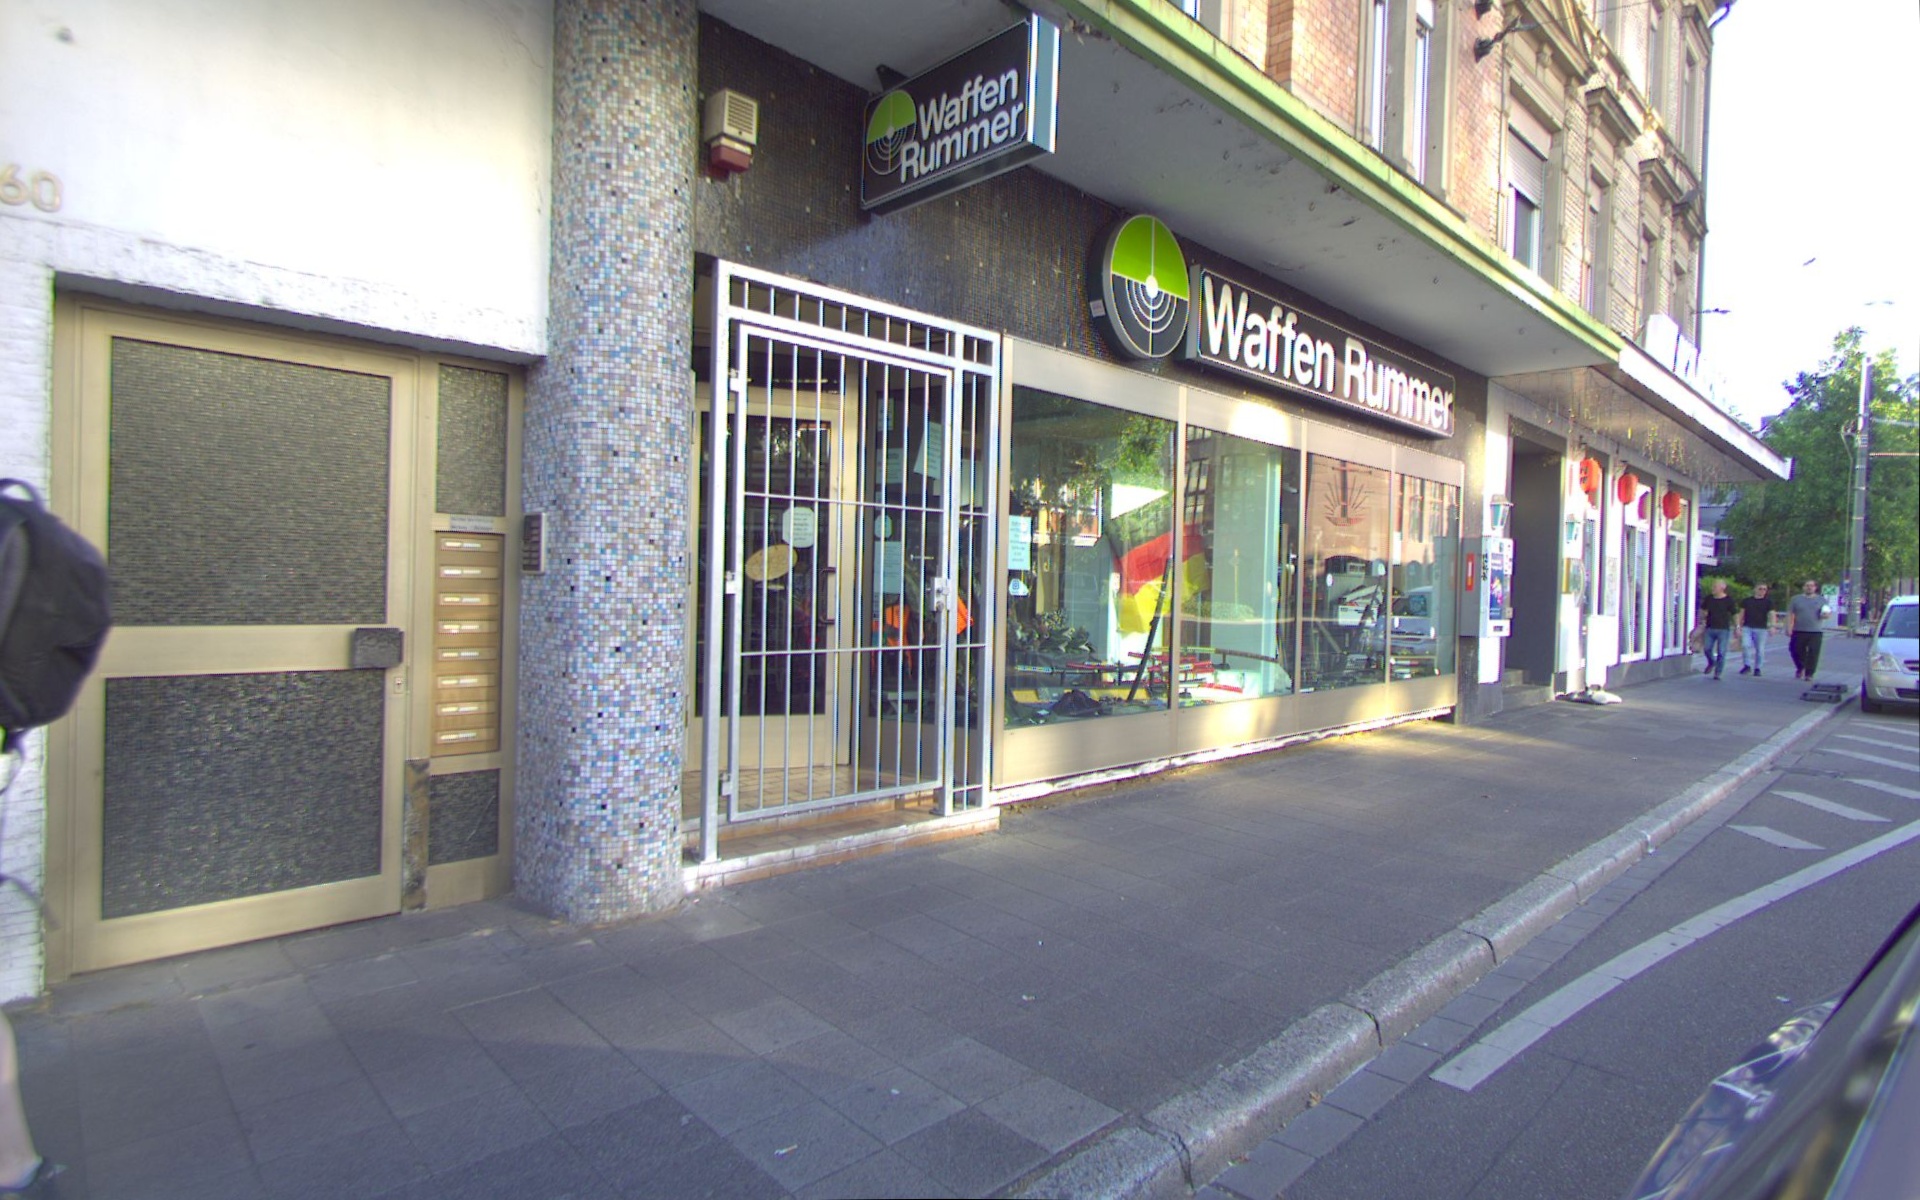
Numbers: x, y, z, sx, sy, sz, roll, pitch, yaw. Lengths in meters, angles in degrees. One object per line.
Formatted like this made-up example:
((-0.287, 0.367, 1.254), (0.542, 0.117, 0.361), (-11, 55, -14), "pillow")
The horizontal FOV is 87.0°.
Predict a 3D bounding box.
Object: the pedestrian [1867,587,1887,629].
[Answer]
((37.911, 0.326, 41.837), (0.430, 1.734, 0.493), (0, 3, -44), "pedestrian")

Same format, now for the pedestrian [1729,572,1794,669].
((15.365, 0.374, 19.401), (1.016, 1.778, 0.811), (0, 2, -44), "pedestrian")

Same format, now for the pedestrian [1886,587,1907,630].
((38.038, 0.336, 41.111), (0.430, 1.734, 0.493), (0, 3, -44), "pedestrian")

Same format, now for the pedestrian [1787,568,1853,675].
((16.125, 0.377, 18.971), (1.016, 1.922, 0.794), (0, 2, -44), "pedestrian")

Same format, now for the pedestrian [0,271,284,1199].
((-1.968, 0.364, 1.863), (1.037, 1.814, 0.947), (0, 2, -44), "pedestrian")

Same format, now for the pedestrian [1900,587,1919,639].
((32.873, 0.432, 34.761), (0.930, 1.759, 0.788), (0, 1, -44), "pedestrian")

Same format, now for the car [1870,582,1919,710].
((13.813, 0.585, 13.994), (1.638, 1.635, 3.881), (1, 1, 45), "car")

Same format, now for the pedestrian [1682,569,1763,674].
((13.383, 0.350, 17.763), (1.016, 1.734, 0.902), (0, 4, -44), "pedestrian")

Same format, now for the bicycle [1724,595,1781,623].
((34.239, 0.378, 43.723), (0.461, 1.109, 1.882), (0, 2, -45), "bicycle")
